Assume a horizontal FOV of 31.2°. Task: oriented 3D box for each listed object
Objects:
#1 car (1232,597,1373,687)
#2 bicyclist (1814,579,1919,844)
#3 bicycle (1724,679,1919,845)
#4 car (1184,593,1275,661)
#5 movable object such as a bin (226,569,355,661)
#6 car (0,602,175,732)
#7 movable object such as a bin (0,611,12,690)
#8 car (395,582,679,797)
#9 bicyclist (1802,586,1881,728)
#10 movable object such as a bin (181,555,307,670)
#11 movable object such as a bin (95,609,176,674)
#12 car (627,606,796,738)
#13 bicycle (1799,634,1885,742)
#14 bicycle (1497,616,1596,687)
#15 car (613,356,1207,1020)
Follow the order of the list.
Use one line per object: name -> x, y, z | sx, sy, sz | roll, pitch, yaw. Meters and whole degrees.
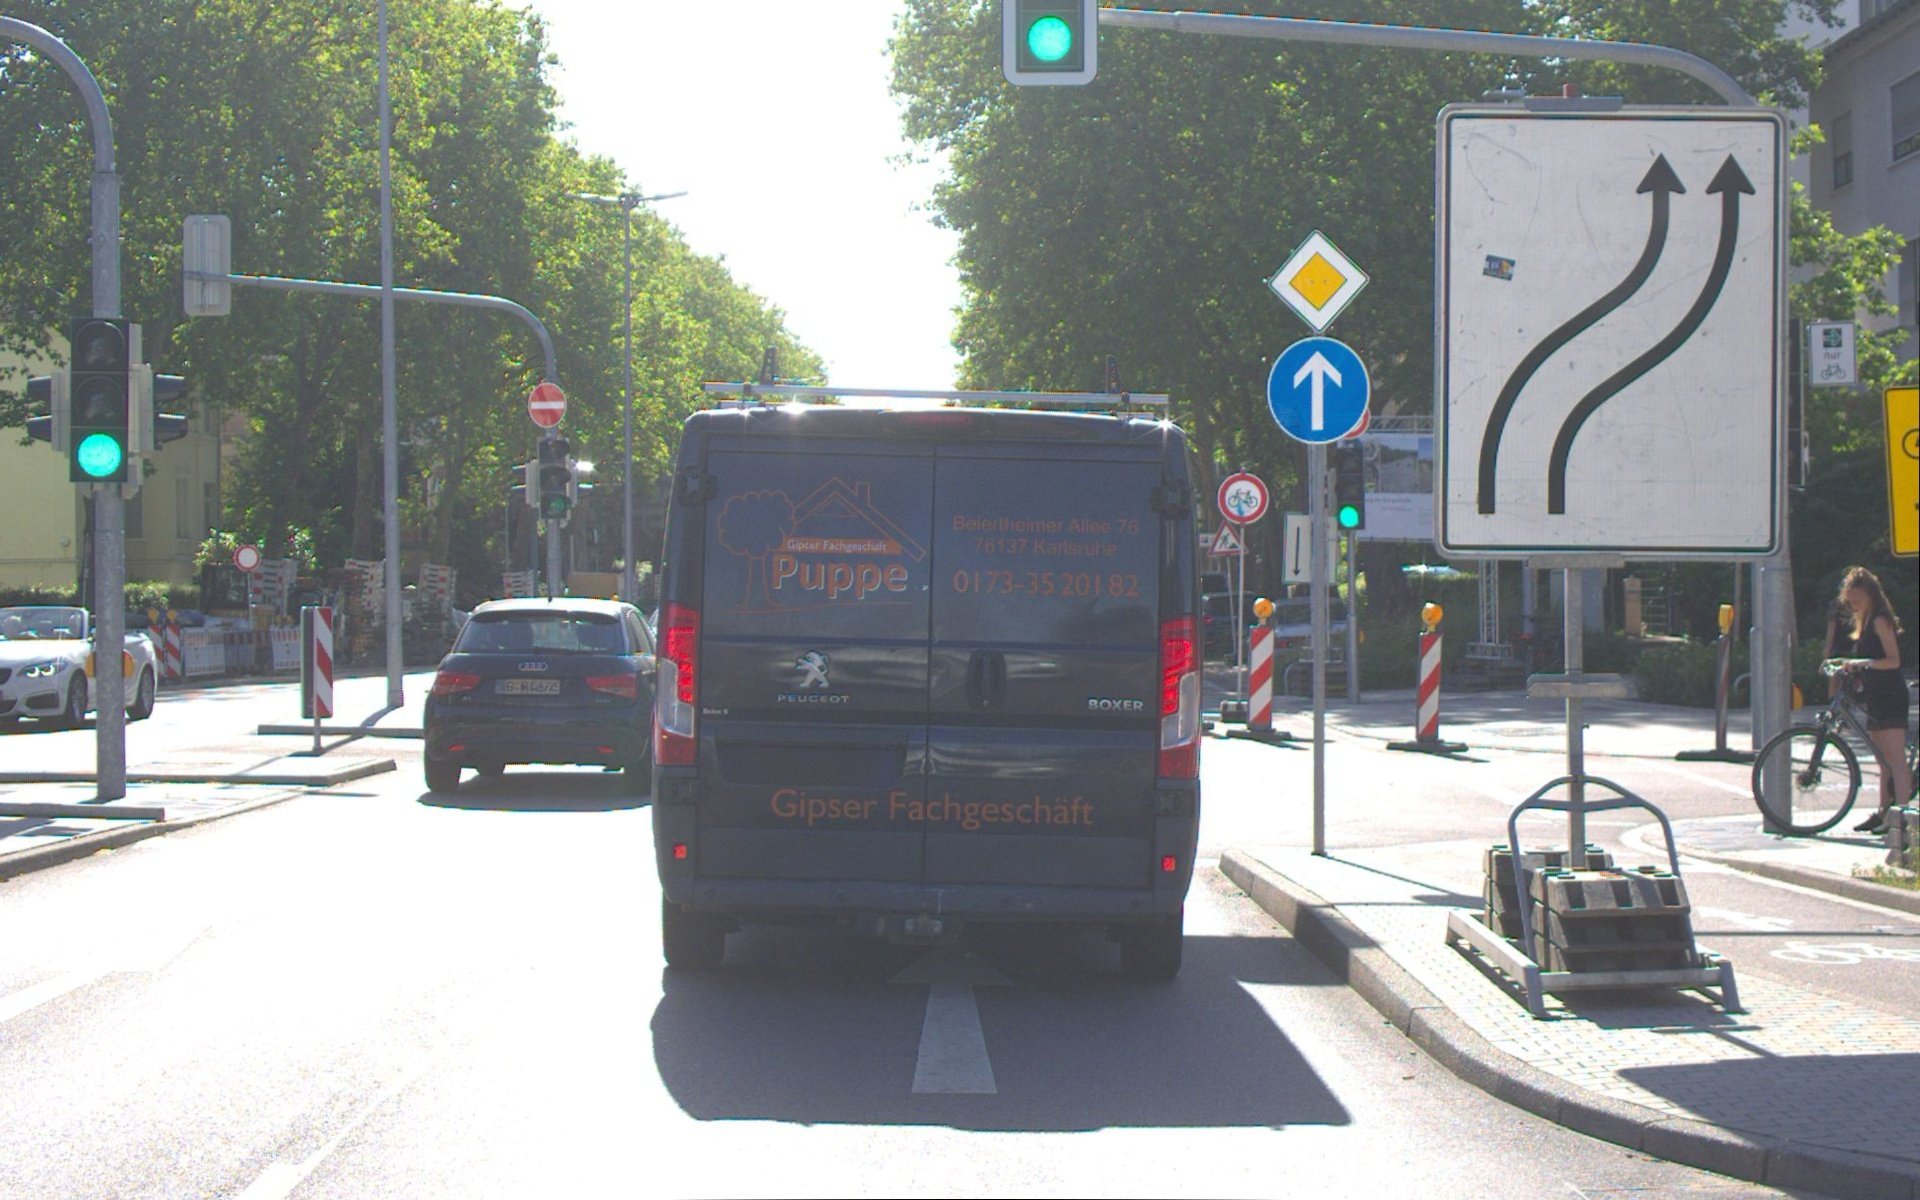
car -> 5.879, 0.696, 59.495 | 1.852, 1.474, 4.942 | 0, 0, -1
bicyclist -> 6.009, 0.714, 22.554 | 0.603, 1.703, 0.858 | 0, 0, 0
bicycle -> 6.063, 1.064, 22.500 | 1.962, 1.022, 0.605 | 1, 1, 0
car -> 6.142, 0.591, 78.721 | 1.763, 1.503, 4.251 | 0, 0, 0
movable object such as a bin -> -17.371, 0.385, 89.455 | 1.994, 2.271, 5.598 | -1, 0, 3
car -> -10.456, 0.719, 38.803 | 1.931, 1.341, 4.316 | 0, 0, 4
movable object such as a bin -> -17.489, 0.891, 60.389 | 1.114, 1.383, 1.855 | 0, 0, 2
car -> -3.150, 0.621, 26.288 | 1.746, 1.402, 4.001 | 1, 1, -1
bicyclist -> 9.394, 0.598, 36.617 | 0.724, 1.494, 0.870 | 0, 0, 21
movable object such as a bin -> -17.299, 0.284, 83.272 | 2.146, 2.697, 5.355 | 0, 0, -3
movable object such as a bin -> -16.974, 0.854, 70.814 | 1.410, 1.333, 0.936 | 0, 0, 3
car -> -2.841, 0.802, 40.005 | 1.746, 1.402, 4.000 | 1, 0, -1
bicycle -> 9.447, 0.931, 36.803 | 0.689, 1.094, 1.685 | 0, 0, 21
bicycle -> 8.669, 0.750, 50.740 | 0.588, 1.002, 2.127 | 0, 0, 35
car -> -0.197, 0.291, 14.249 | 2.095, 2.347, 3.933 | 1, 1, 0
